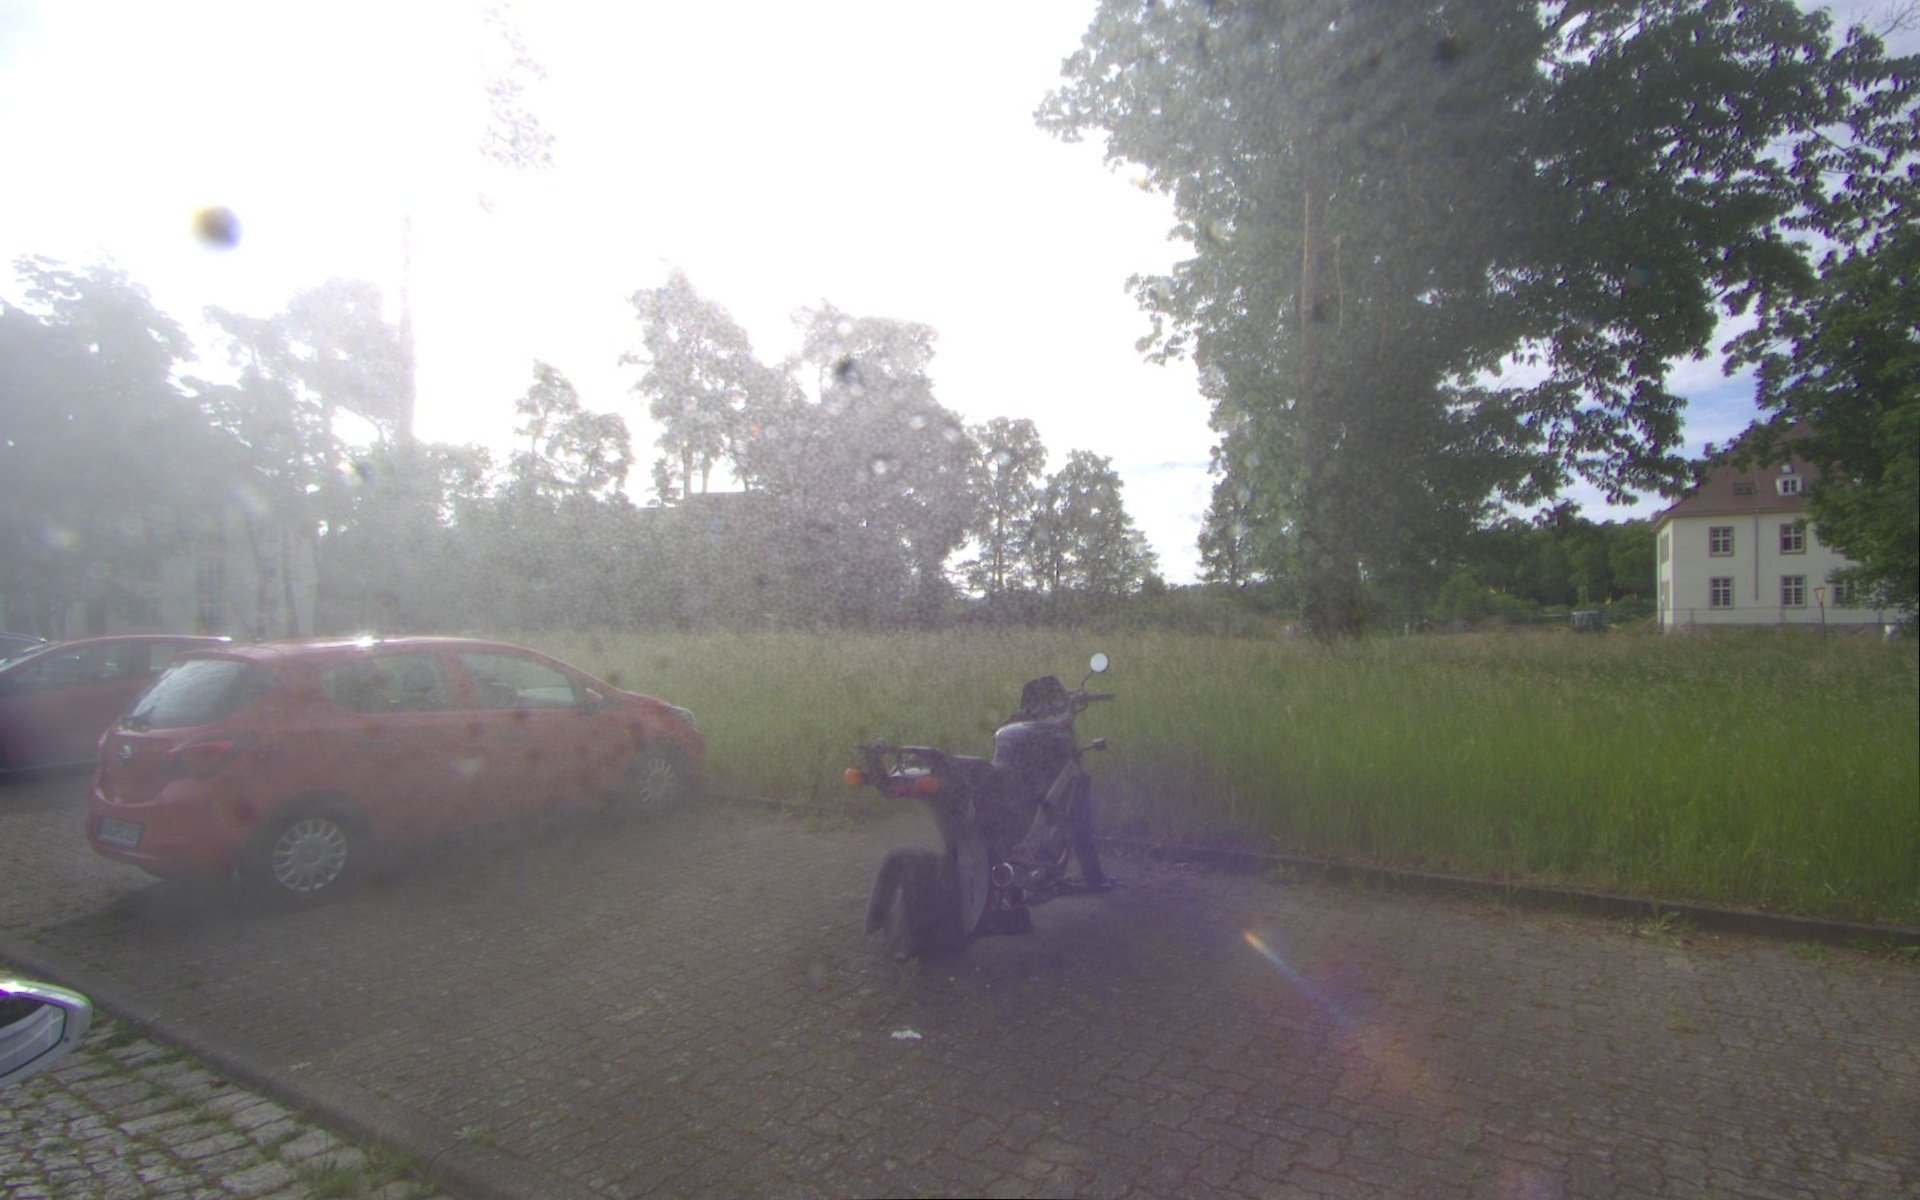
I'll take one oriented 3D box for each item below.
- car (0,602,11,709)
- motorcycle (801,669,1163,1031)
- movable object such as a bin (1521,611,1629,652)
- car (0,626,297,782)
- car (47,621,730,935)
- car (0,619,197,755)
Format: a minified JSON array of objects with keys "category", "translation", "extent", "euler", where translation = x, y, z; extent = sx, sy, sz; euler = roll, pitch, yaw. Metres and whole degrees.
[{"category":"car","translation":[-19.711,1.062,17.084],"extent":[1.903,1.980,4.747],"euler":[-1,0,30]},{"category":"motorcycle","translation":[0.258,1.011,4.922],"extent":[0.783,1.201,2.324],"euler":[-1,0,29]},{"category":"movable object such as a bin","translation":[42.303,2.214,69.011],"extent":[2.152,2.688,5.927],"euler":[1,-2,-41]},{"category":"car","translation":[-9.892,1.092,11.168],"extent":[1.726,1.479,3.784],"euler":[-1,0,32]},{"category":"car","translation":[-3.637,0.943,7.078],"extent":[1.753,1.479,3.819],"euler":[-1,0,31]},{"category":"car","translation":[-12.212,1.079,12.401],"extent":[1.725,1.573,4.023],"euler":[-1,0,29]}]
